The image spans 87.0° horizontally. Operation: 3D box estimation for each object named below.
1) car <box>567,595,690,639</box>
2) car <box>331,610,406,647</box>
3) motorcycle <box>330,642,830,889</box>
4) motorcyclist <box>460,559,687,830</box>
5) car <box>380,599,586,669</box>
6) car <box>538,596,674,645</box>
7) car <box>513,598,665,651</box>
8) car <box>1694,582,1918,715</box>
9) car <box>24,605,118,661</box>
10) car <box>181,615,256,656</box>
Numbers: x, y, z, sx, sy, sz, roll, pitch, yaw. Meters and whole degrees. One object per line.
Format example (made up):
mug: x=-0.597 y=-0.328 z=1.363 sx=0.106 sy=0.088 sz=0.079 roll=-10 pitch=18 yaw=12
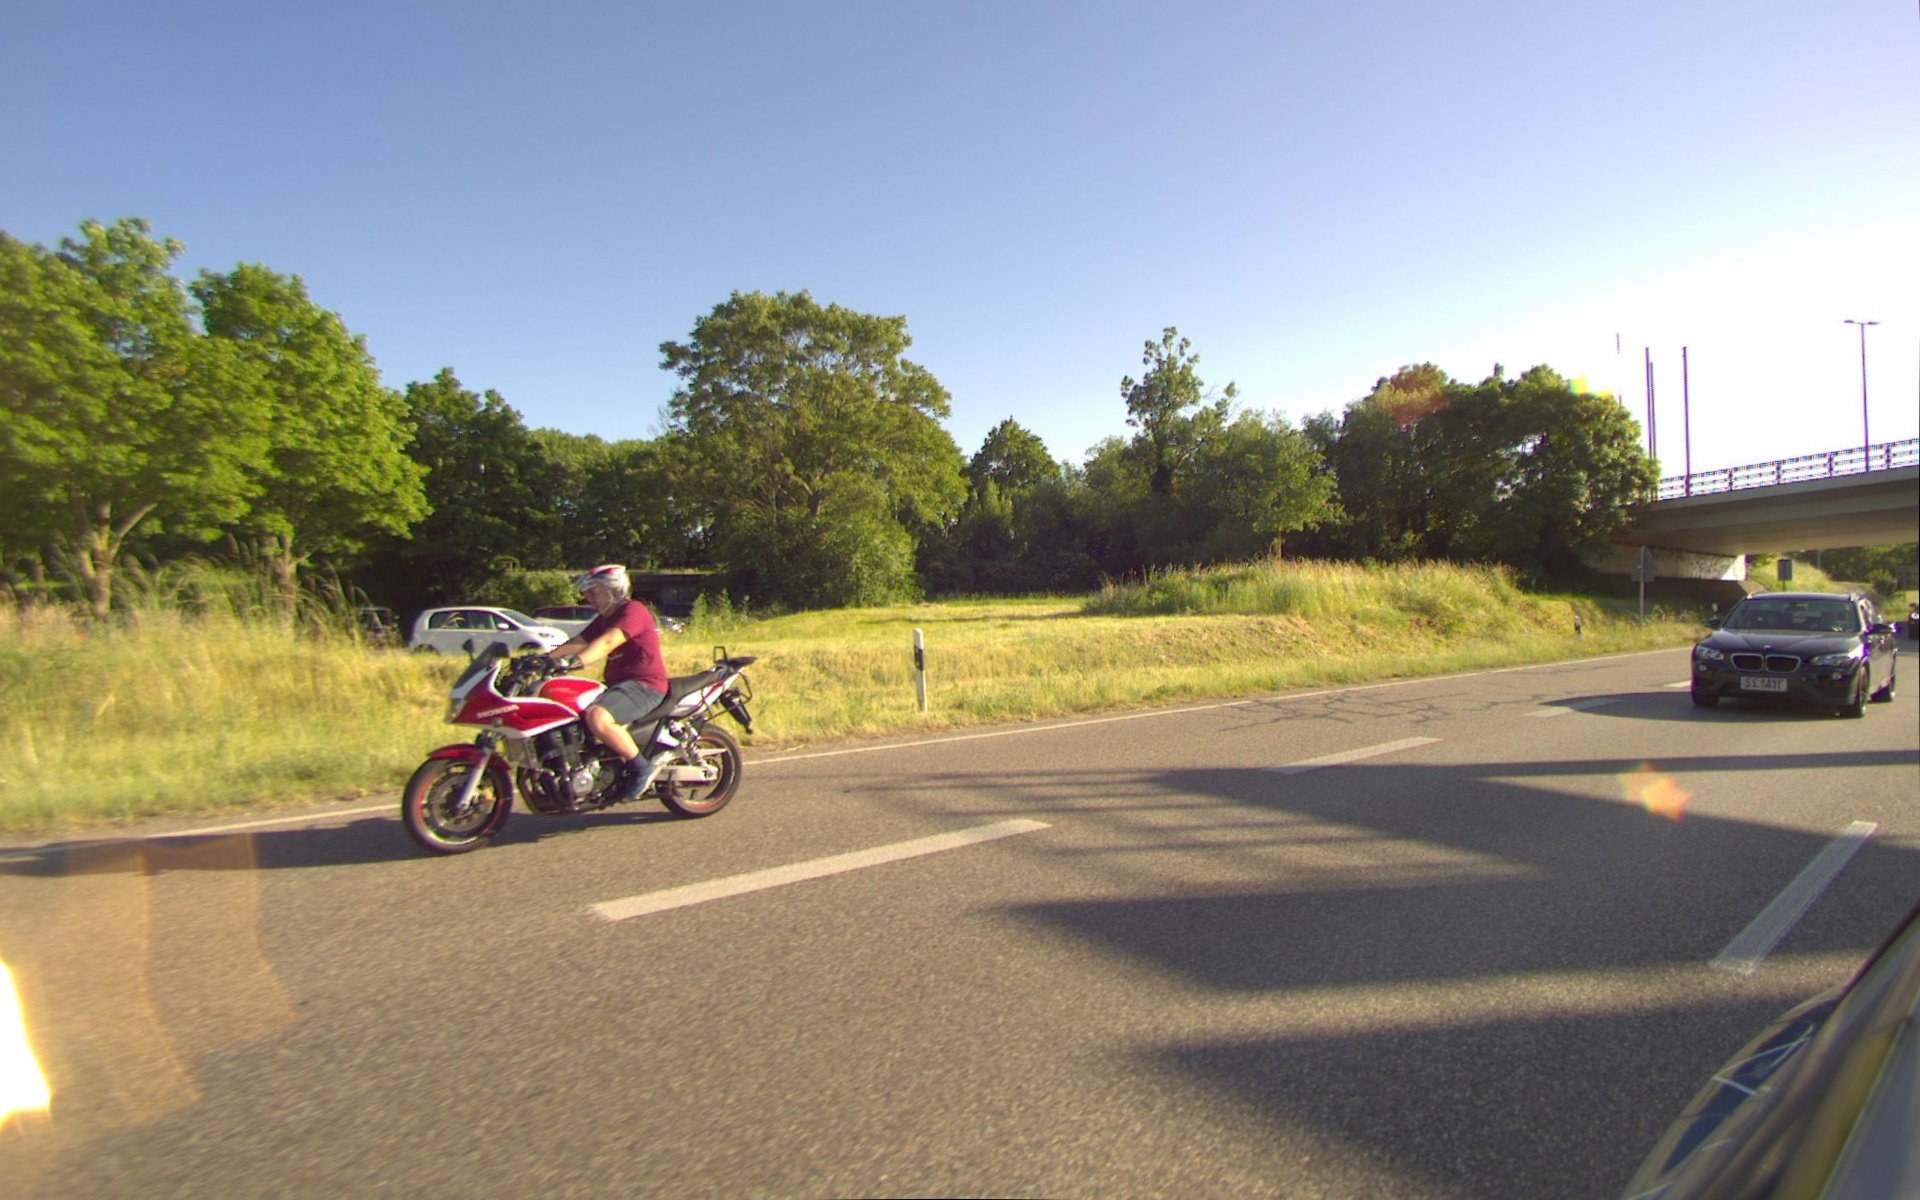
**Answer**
car: x=-12.102 y=0.597 z=37.179 sx=3.920 sy=1.322 sz=1.927 roll=-3 pitch=2 yaw=-6
car: x=-26.244 y=1.243 z=44.838 sx=1.837 sy=1.441 sz=4.111 roll=-5 pitch=2 yaw=-45
motorcycle: x=-2.200 y=0.873 z=6.248 sx=2.786 sy=1.083 sz=0.818 roll=-1 pitch=0 yaw=-41
motorcyclist: x=-2.340 y=0.504 z=6.143 sx=1.074 sy=1.465 sz=0.818 roll=-1 pitch=0 yaw=-40
car: x=-11.229 y=0.769 z=24.053 sx=3.922 sy=1.322 sz=1.993 roll=-3 pitch=2 yaw=-3
car: x=-11.829 y=0.664 z=34.032 sx=3.920 sy=1.322 sz=1.927 roll=-3 pitch=2 yaw=-6
car: x=-11.510 y=0.733 z=31.632 sx=4.028 sy=1.322 sz=2.003 roll=-3 pitch=2 yaw=-5
car: x=11.788 y=0.545 z=13.990 sx=4.500 sy=1.525 sz=1.701 roll=-2 pitch=0 yaw=-41
car: x=-26.657 y=0.968 z=30.304 sx=1.837 sy=1.441 sz=4.111 roll=-5 pitch=2 yaw=-45
car: x=-30.288 y=1.407 z=41.305 sx=1.837 sy=1.441 sz=4.111 roll=-5 pitch=2 yaw=-45
